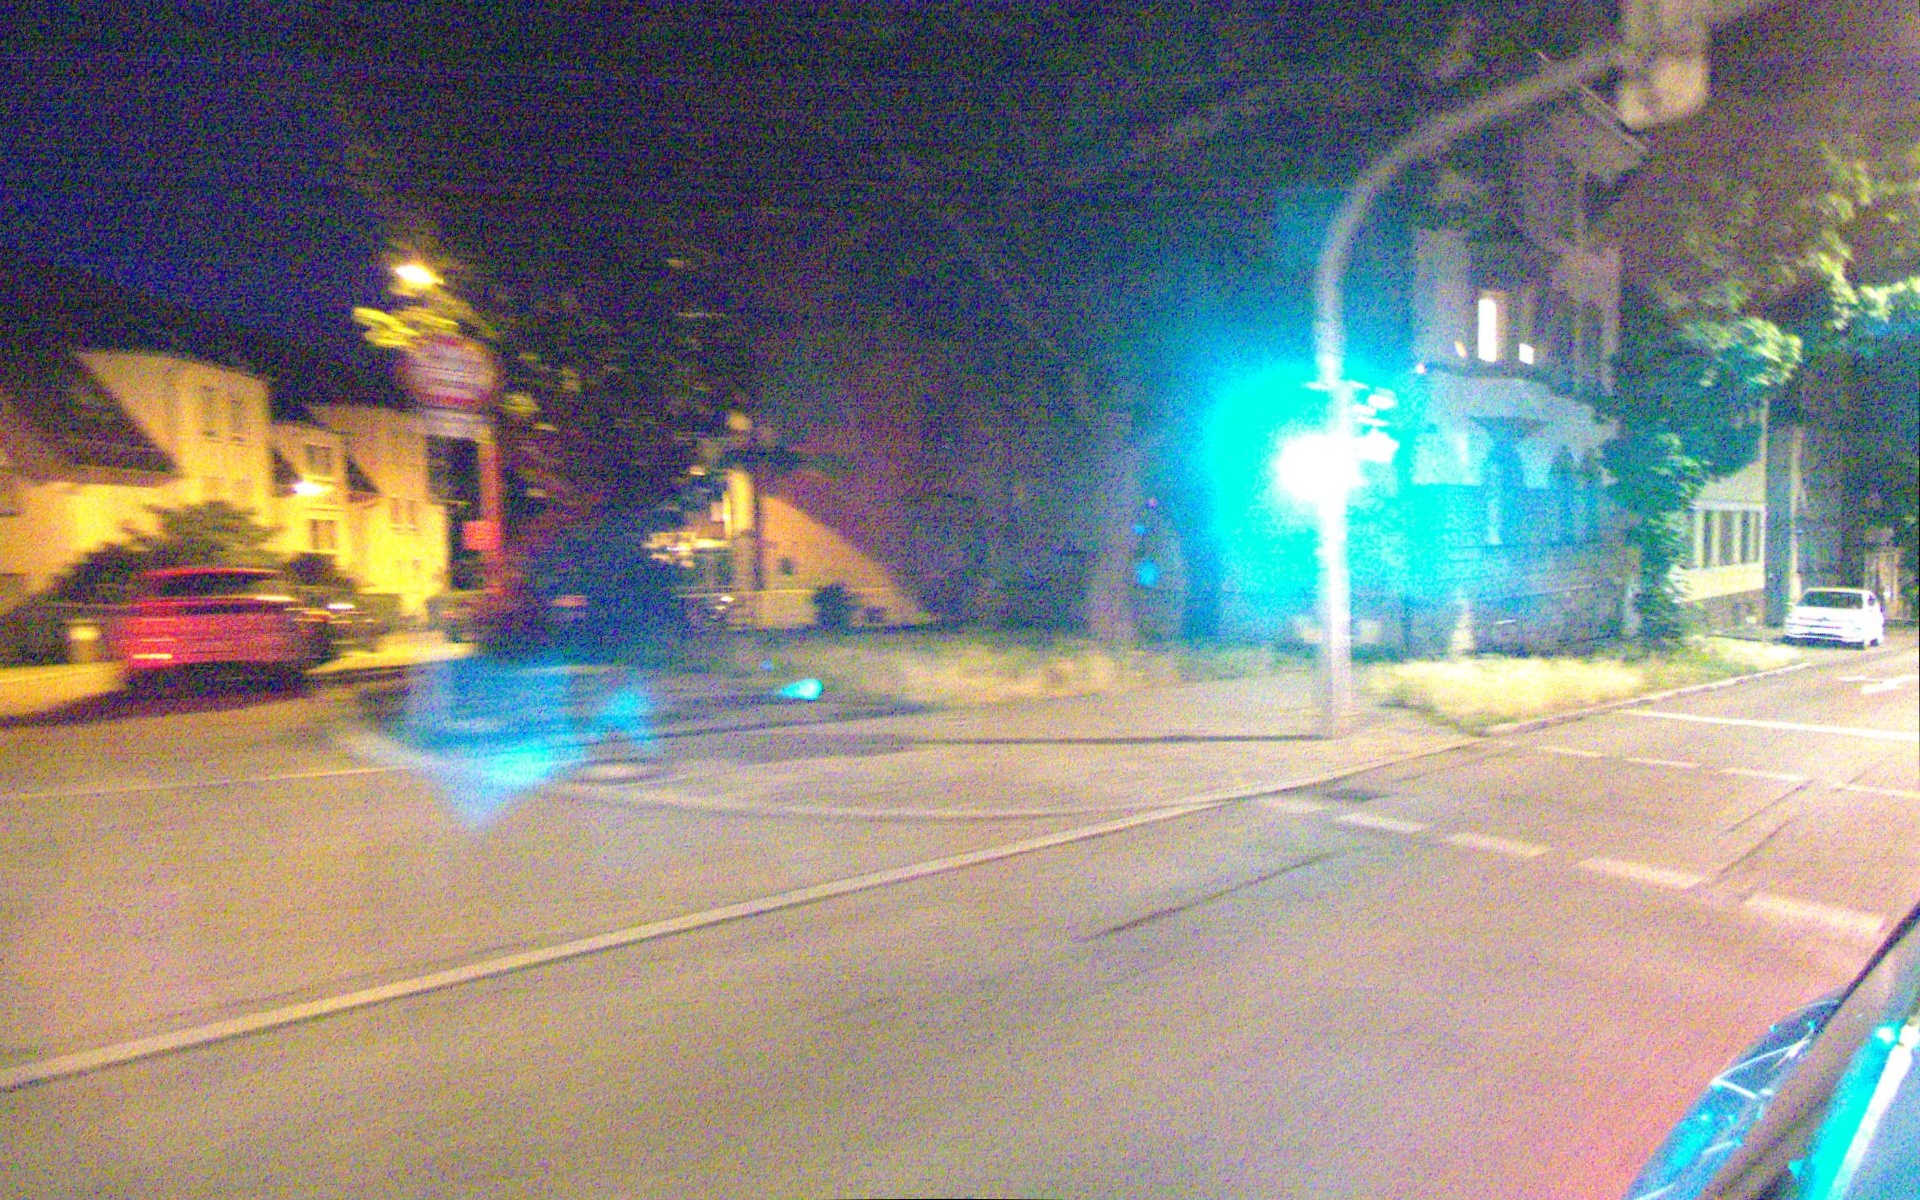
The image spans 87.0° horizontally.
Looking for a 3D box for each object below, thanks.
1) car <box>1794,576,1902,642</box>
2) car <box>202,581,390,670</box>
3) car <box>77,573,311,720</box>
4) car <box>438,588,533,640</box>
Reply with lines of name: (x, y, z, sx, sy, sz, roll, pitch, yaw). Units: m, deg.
car: (22.689, 0.181, 25.840, 3.349, 1.512, 1.625, -1, 3, -42)
car: (-12.185, 0.393, 18.880, 1.840, 1.404, 4.086, -2, 1, -17)
car: (-9.862, 0.488, 13.385, 2.013, 1.575, 4.258, -2, 1, -31)
car: (-13.619, 0.359, 29.254, 1.606, 1.374, 3.701, 0, 1, -11)
